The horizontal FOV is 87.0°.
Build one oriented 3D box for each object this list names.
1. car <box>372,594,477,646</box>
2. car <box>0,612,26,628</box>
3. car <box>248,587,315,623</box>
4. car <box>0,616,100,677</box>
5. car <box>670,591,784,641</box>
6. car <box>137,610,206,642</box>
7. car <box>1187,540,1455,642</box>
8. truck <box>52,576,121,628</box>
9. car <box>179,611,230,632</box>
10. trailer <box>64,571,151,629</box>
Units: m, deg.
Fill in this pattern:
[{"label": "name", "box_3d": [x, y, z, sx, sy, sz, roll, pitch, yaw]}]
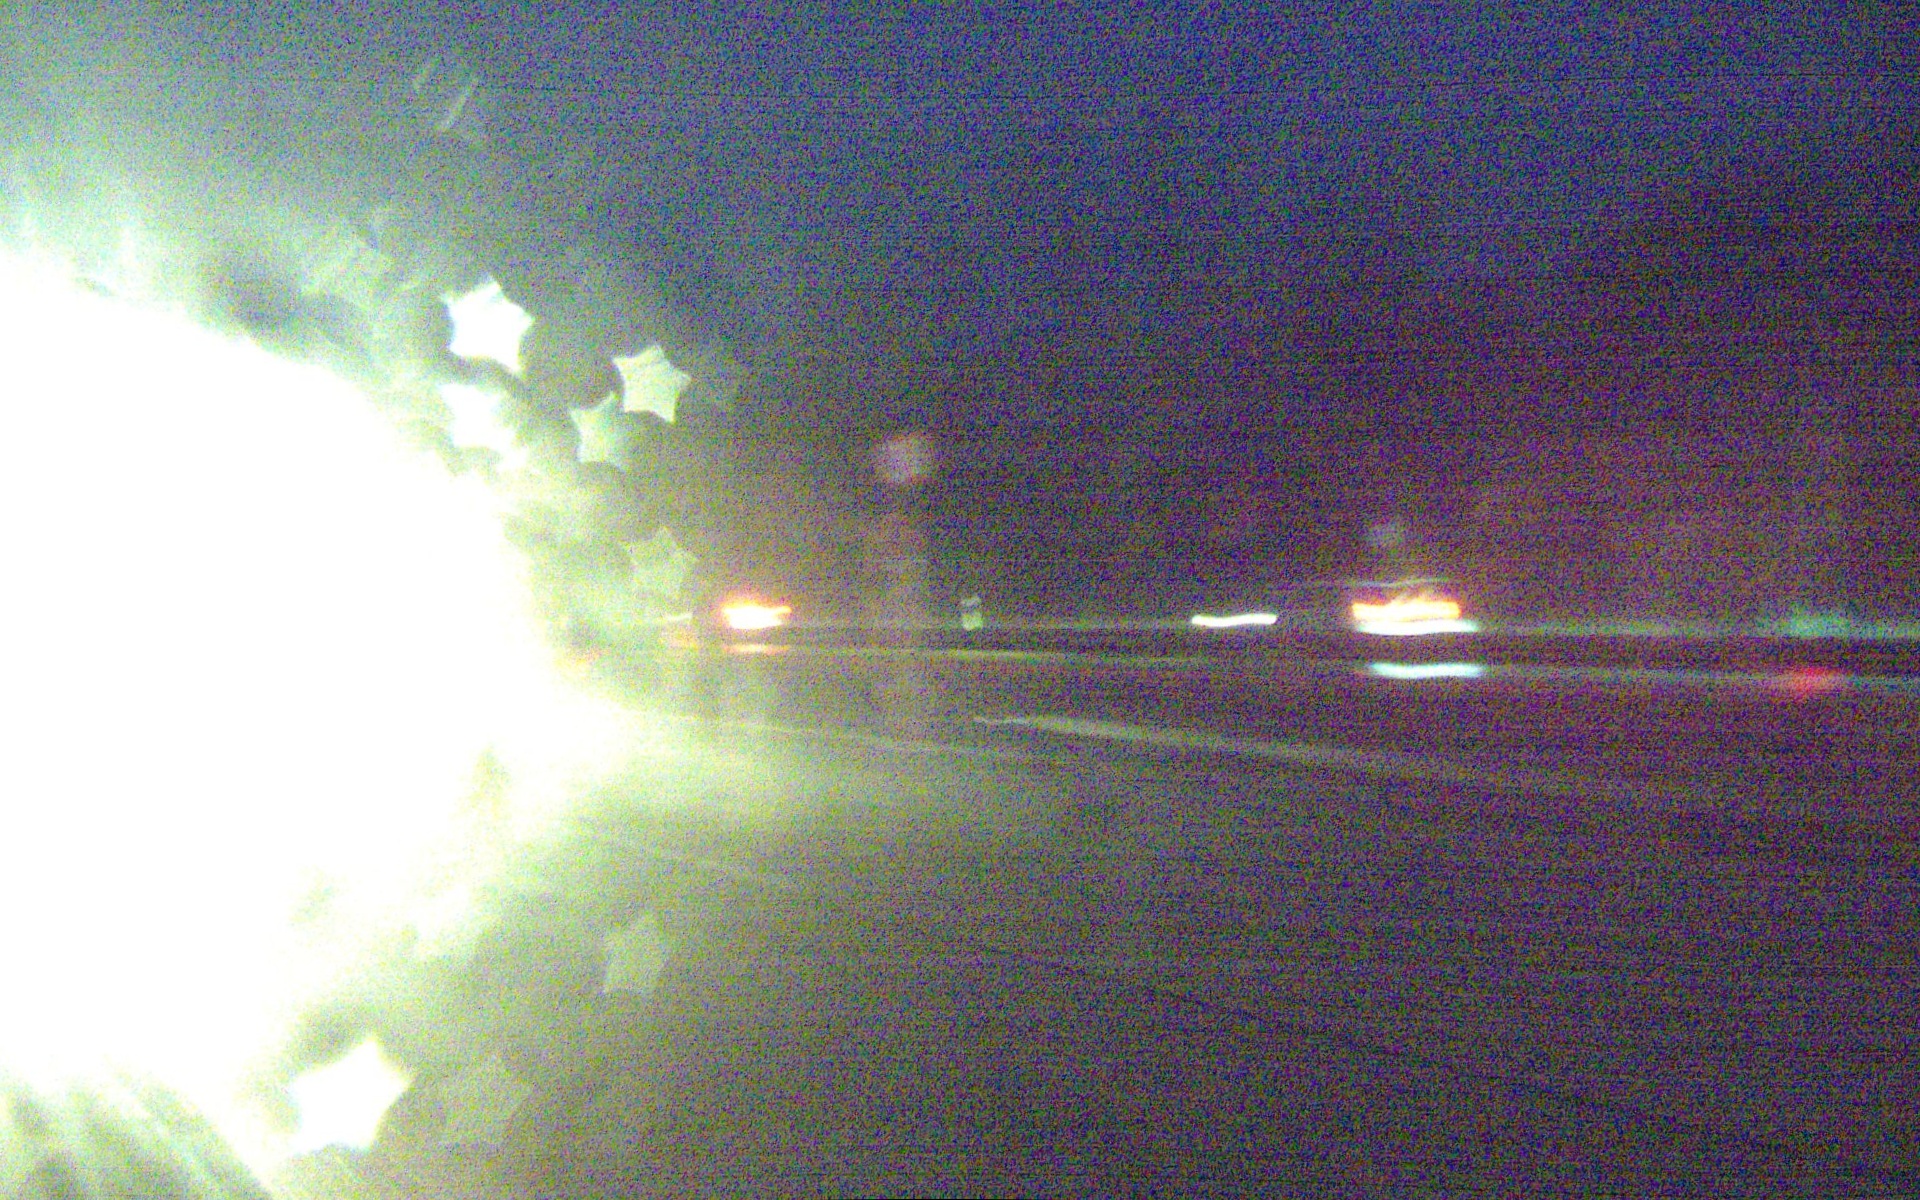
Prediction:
[{"label": "car", "box_3d": [-21.548, 0.742, 40.641, 5.133, 1.924, 1.966, 0, 1, 41]}, {"label": "car", "box_3d": [-99.304, 2.093, 105.943, 3.715, 1.507, 1.689, 0, 1, 39]}, {"label": "car", "box_3d": [-38.072, 0.247, 56.772, 4.841, 1.924, 1.872, 0, 1, 41]}, {"label": "car", "box_3d": [-25.636, 1.276, 28.429, 3.845, 1.587, 1.633, -2, -1, 40]}, {"label": "car", "box_3d": [-7.720, 0.488, 33.418, 3.801, 1.506, 1.746, 0, 1, 40]}, {"label": "car", "box_3d": [-40.830, 1.325, 52.394, 4.302, 1.520, 1.864, 0, 1, 39]}, {"label": "car", "box_3d": [6.462, -0.101, 18.395, 4.197, 1.624, 1.789, -3, -1, 41]}, {"label": "truck", "box_3d": [-72.453, 0.177, 83.920, 6.459, 4.205, 3.331, -1, 0, 40]}, {"label": "car", "box_3d": [-52.190, 1.487, 69.900, 4.162, 1.405, 1.821, -1, 0, 38]}, {"label": "trailer", "box_3d": [-66.465, 0.063, 78.776, 11.713, 4.205, 3.321, -1, 0, 41]}]
